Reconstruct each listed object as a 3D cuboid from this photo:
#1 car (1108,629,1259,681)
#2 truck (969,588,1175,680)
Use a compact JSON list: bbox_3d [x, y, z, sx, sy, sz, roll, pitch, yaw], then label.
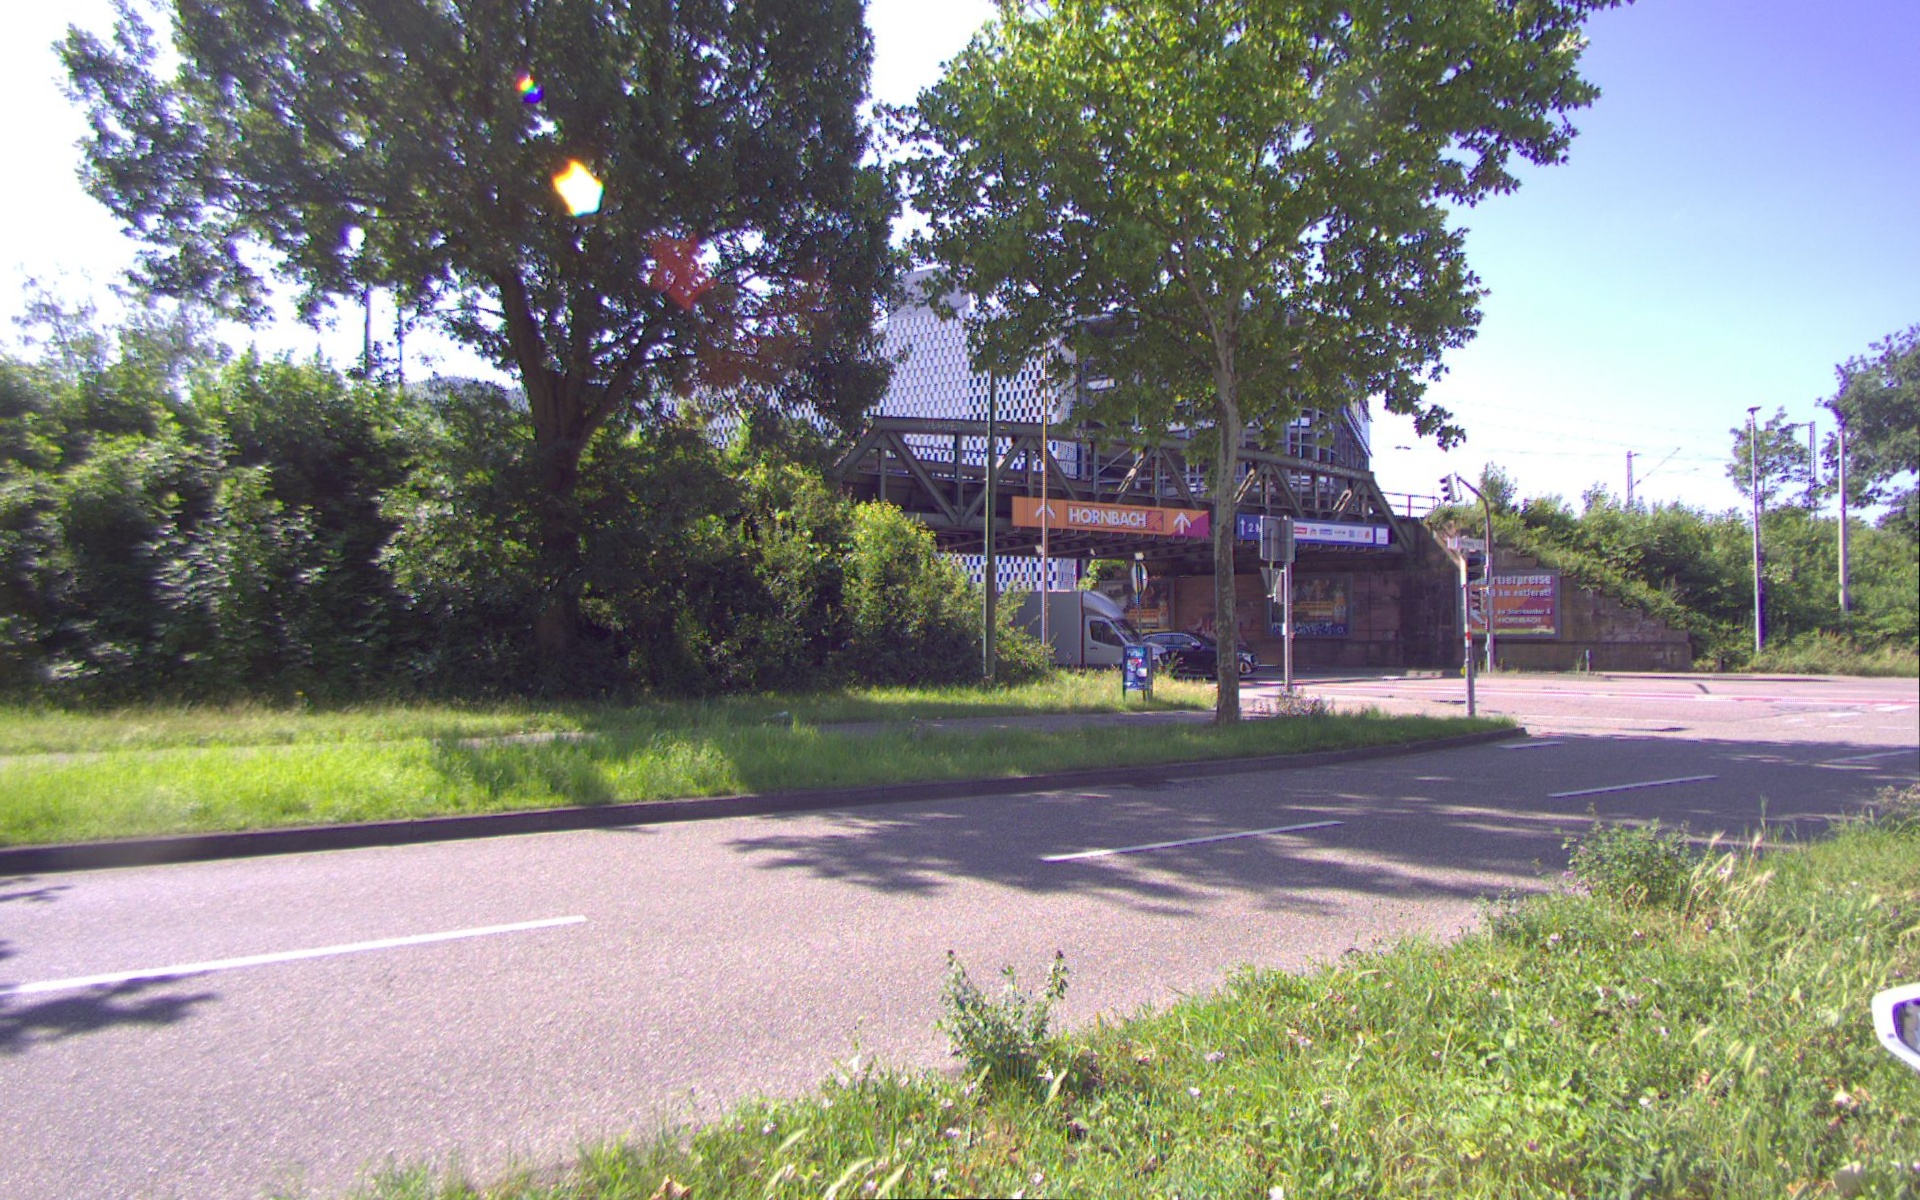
[{"bbox_3d":[7.788,1.880,35.127,4.957,1.617,1.526,1,-1,24],"label":"car"},{"bbox_3d":[3.589,1.025,32.602,6.286,2.748,1.998,1,-1,26],"label":"truck"}]
